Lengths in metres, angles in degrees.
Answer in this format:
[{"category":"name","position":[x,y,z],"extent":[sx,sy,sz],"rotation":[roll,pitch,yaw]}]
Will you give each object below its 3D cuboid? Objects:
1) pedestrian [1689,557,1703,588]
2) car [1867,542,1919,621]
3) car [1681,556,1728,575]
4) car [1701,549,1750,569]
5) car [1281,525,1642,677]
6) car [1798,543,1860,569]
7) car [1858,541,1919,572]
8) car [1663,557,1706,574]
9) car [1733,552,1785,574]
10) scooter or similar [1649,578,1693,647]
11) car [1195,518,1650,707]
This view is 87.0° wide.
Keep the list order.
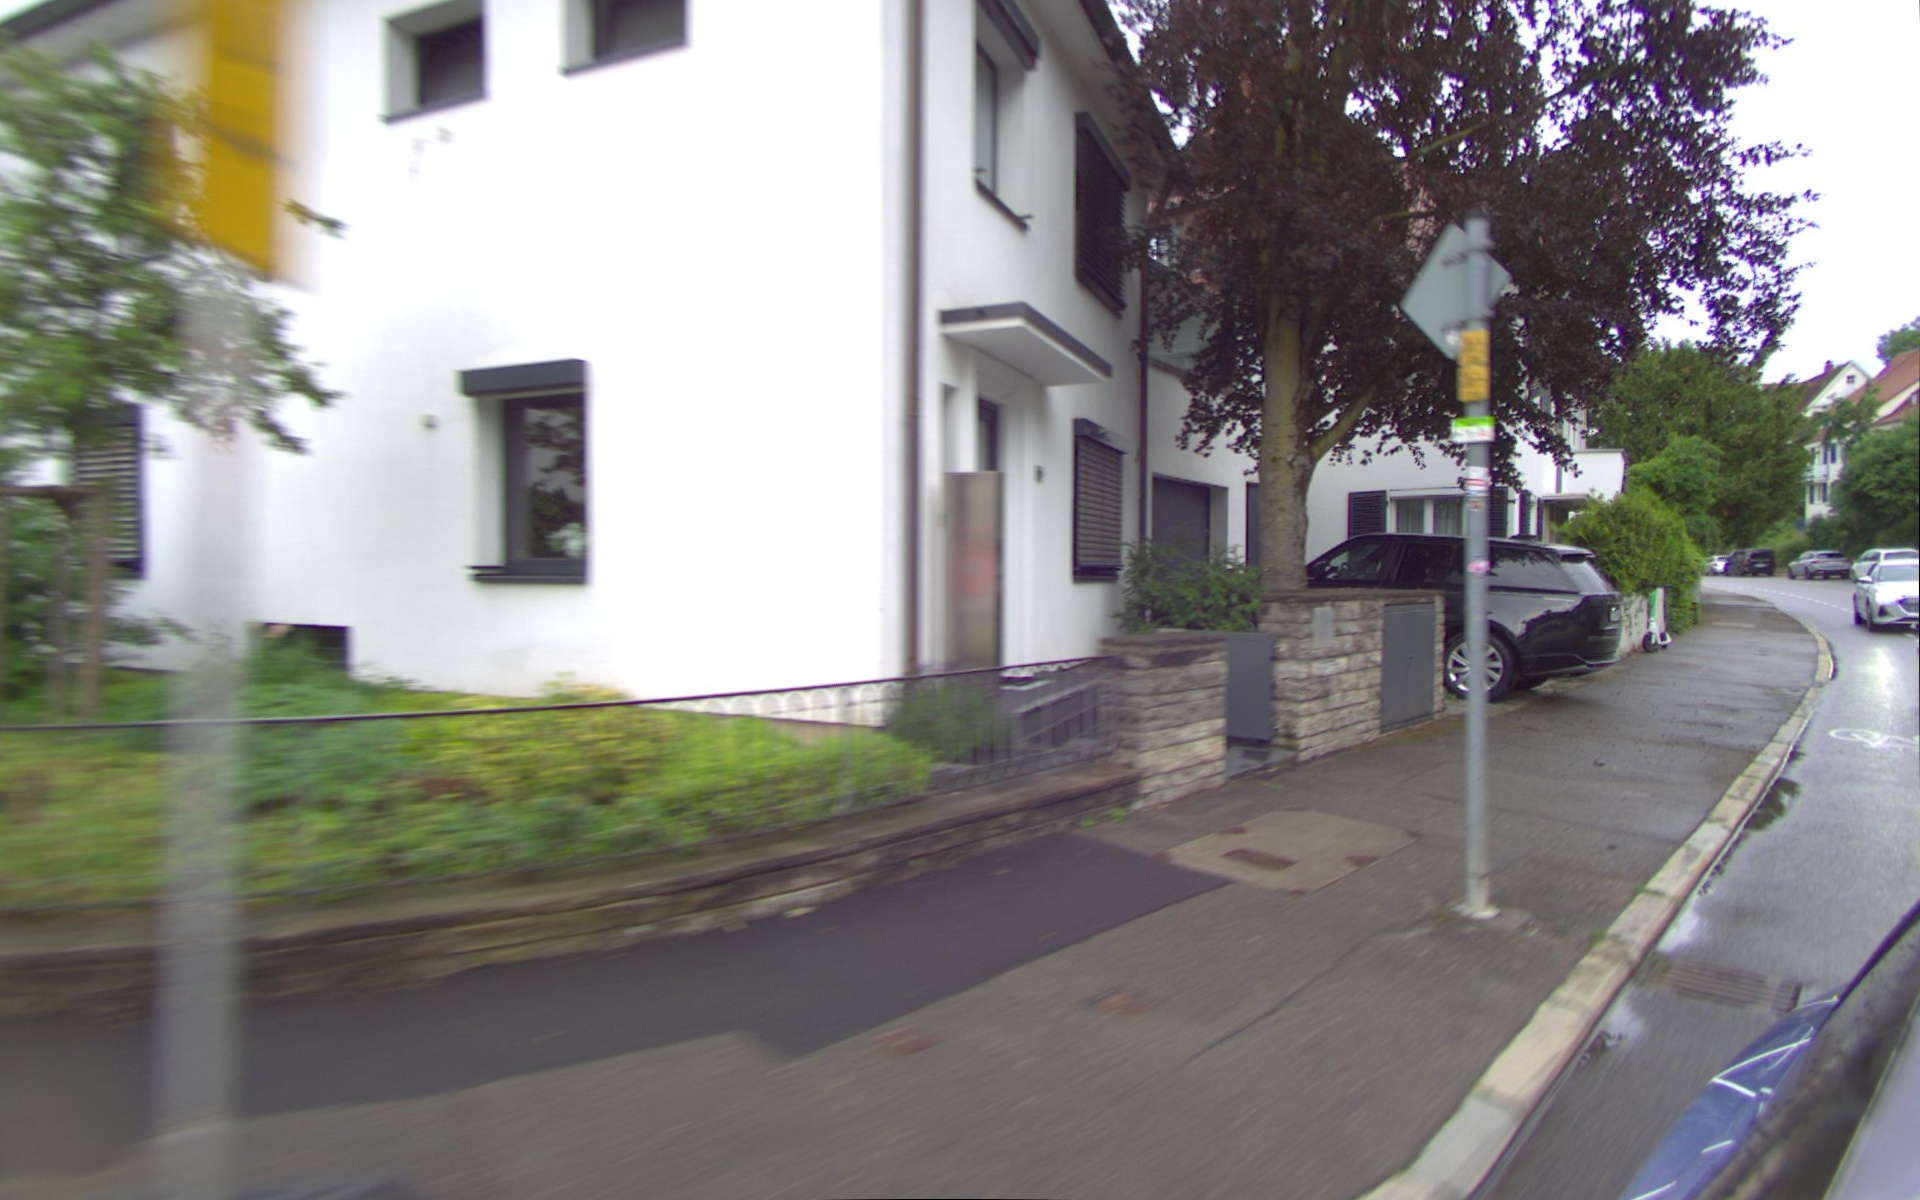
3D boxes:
[{"category":"pedestrian","position":[30.020,-1.136,41.278],"extent":[0.424,1.261,0.312],"rotation":[1,2,34]},{"category":"car","position":[22.248,-0.441,23.330],"extent":[1.788,1.720,3.836],"rotation":[0,1,39]},{"category":"car","position":[59.591,-2.731,81.085],"extent":[1.658,1.389,4.411],"rotation":[-1,1,18]},{"category":"car","position":[57.504,-3.035,76.086],"extent":[1.660,1.389,4.408],"rotation":[-1,1,20]},{"category":"car","position":[7.383,-0.115,15.158],"extent":[4.449,1.831,1.914],"rotation":[6,5,40]},{"category":"car","position":[49.851,-2.495,58.119],"extent":[1.664,1.389,4.396],"rotation":[-1,1,27]},{"category":"car","position":[45.423,-2.066,49.060],"extent":[1.665,1.389,4.396],"rotation":[3,3,27]},{"category":"car","position":[62.642,-2.947,87.567],"extent":[1.657,1.389,4.414],"rotation":[-1,1,17]},{"category":"car","position":[54.645,-2.528,69.304],"extent":[1.660,1.389,3.860],"rotation":[-1,1,20]},{"category":"scooter or similar","position":[12.456,0.203,17.714],"extent":[0.446,1.145,1.255],"rotation":[1,2,43]},{"category":"car","position":[5.546,-0.025,12.624],"extent":[4.734,1.831,1.912],"rotation":[6,5,44]}]
